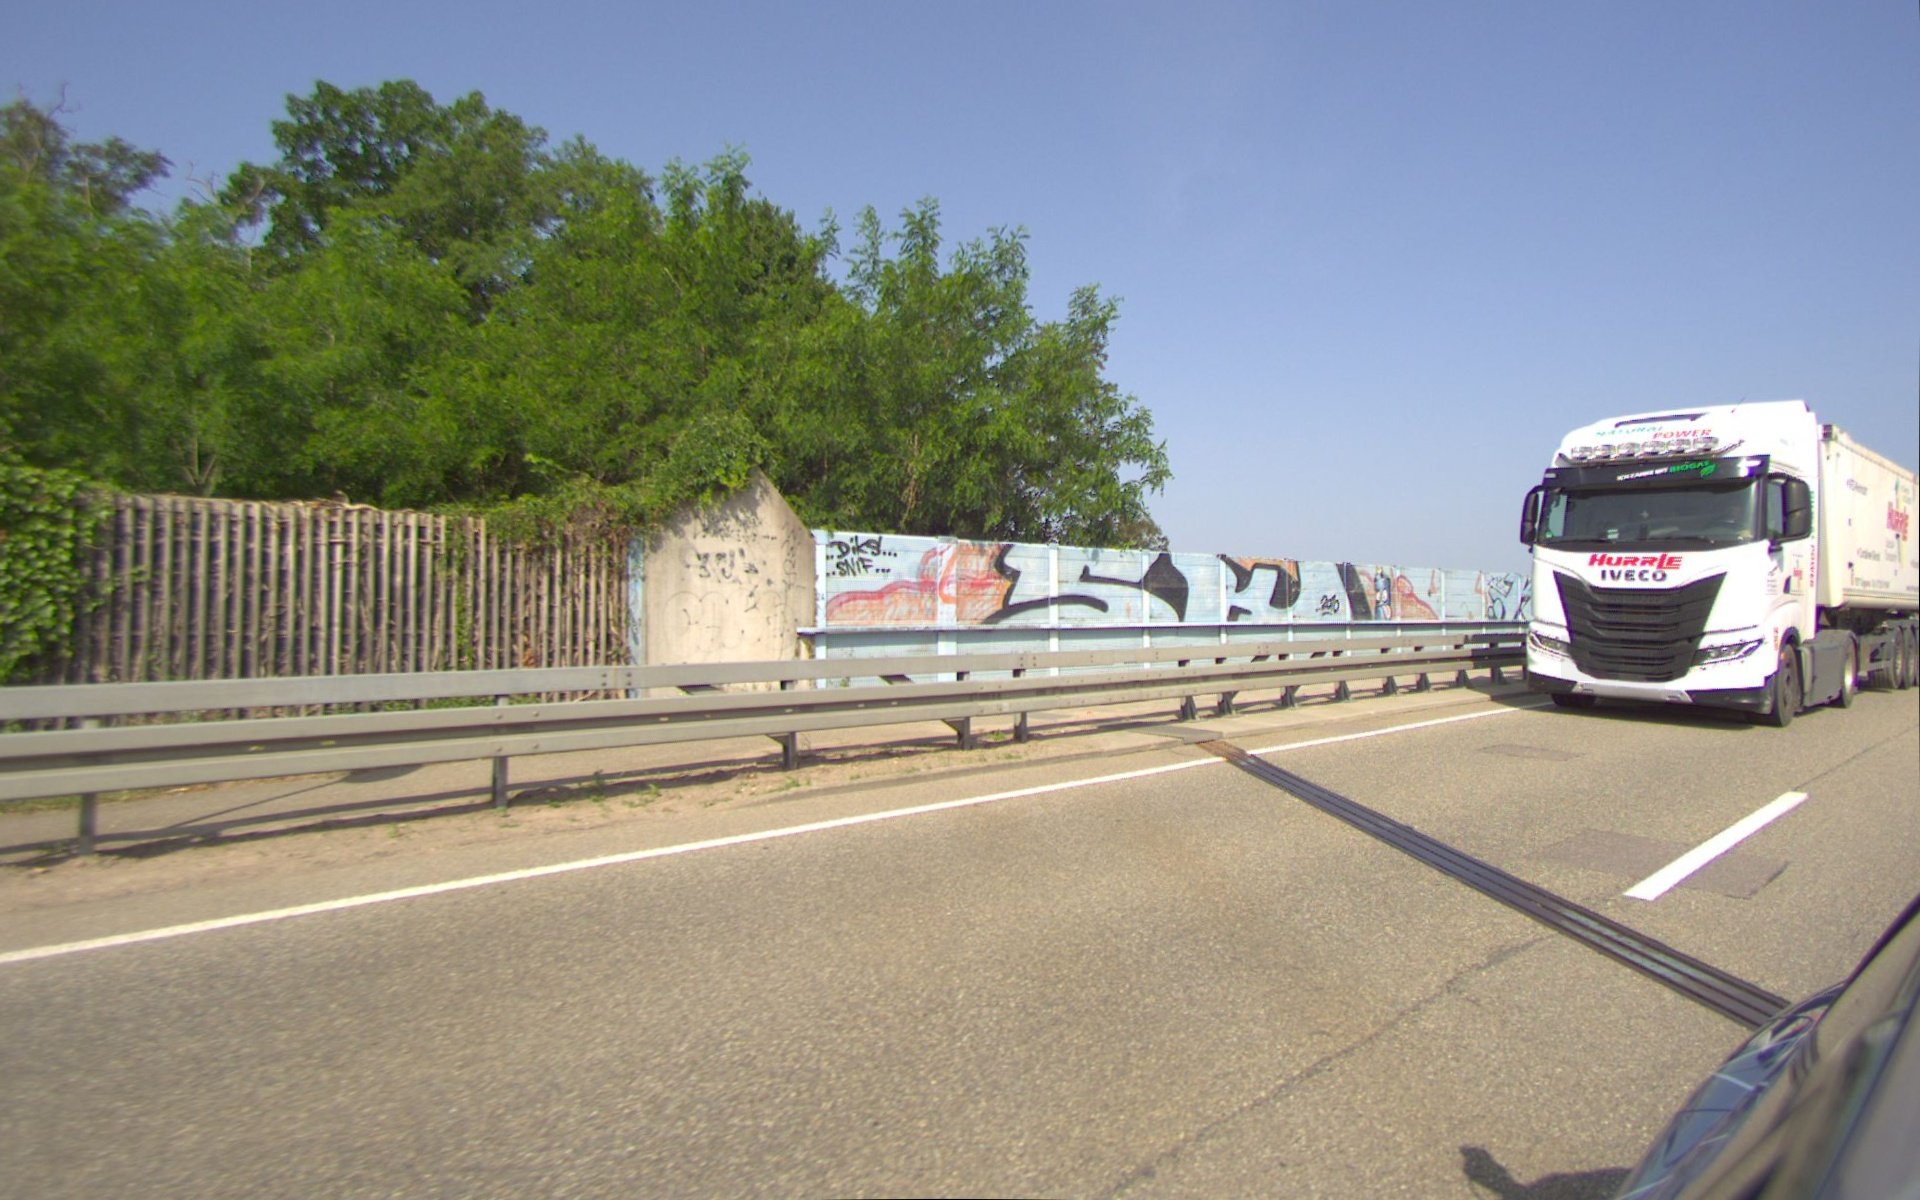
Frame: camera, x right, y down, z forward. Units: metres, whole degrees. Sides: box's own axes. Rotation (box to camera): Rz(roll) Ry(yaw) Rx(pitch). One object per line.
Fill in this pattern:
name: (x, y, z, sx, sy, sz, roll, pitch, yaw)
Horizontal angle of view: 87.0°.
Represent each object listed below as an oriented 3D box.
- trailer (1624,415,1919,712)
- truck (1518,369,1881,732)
trailer: (14.751, -0.499, 17.558, 9.499, 3.956, 2.685, 0, 1, -40)
truck: (10.211, -0.546, 13.795, 5.546, 3.945, 2.665, 1, 0, -39)
